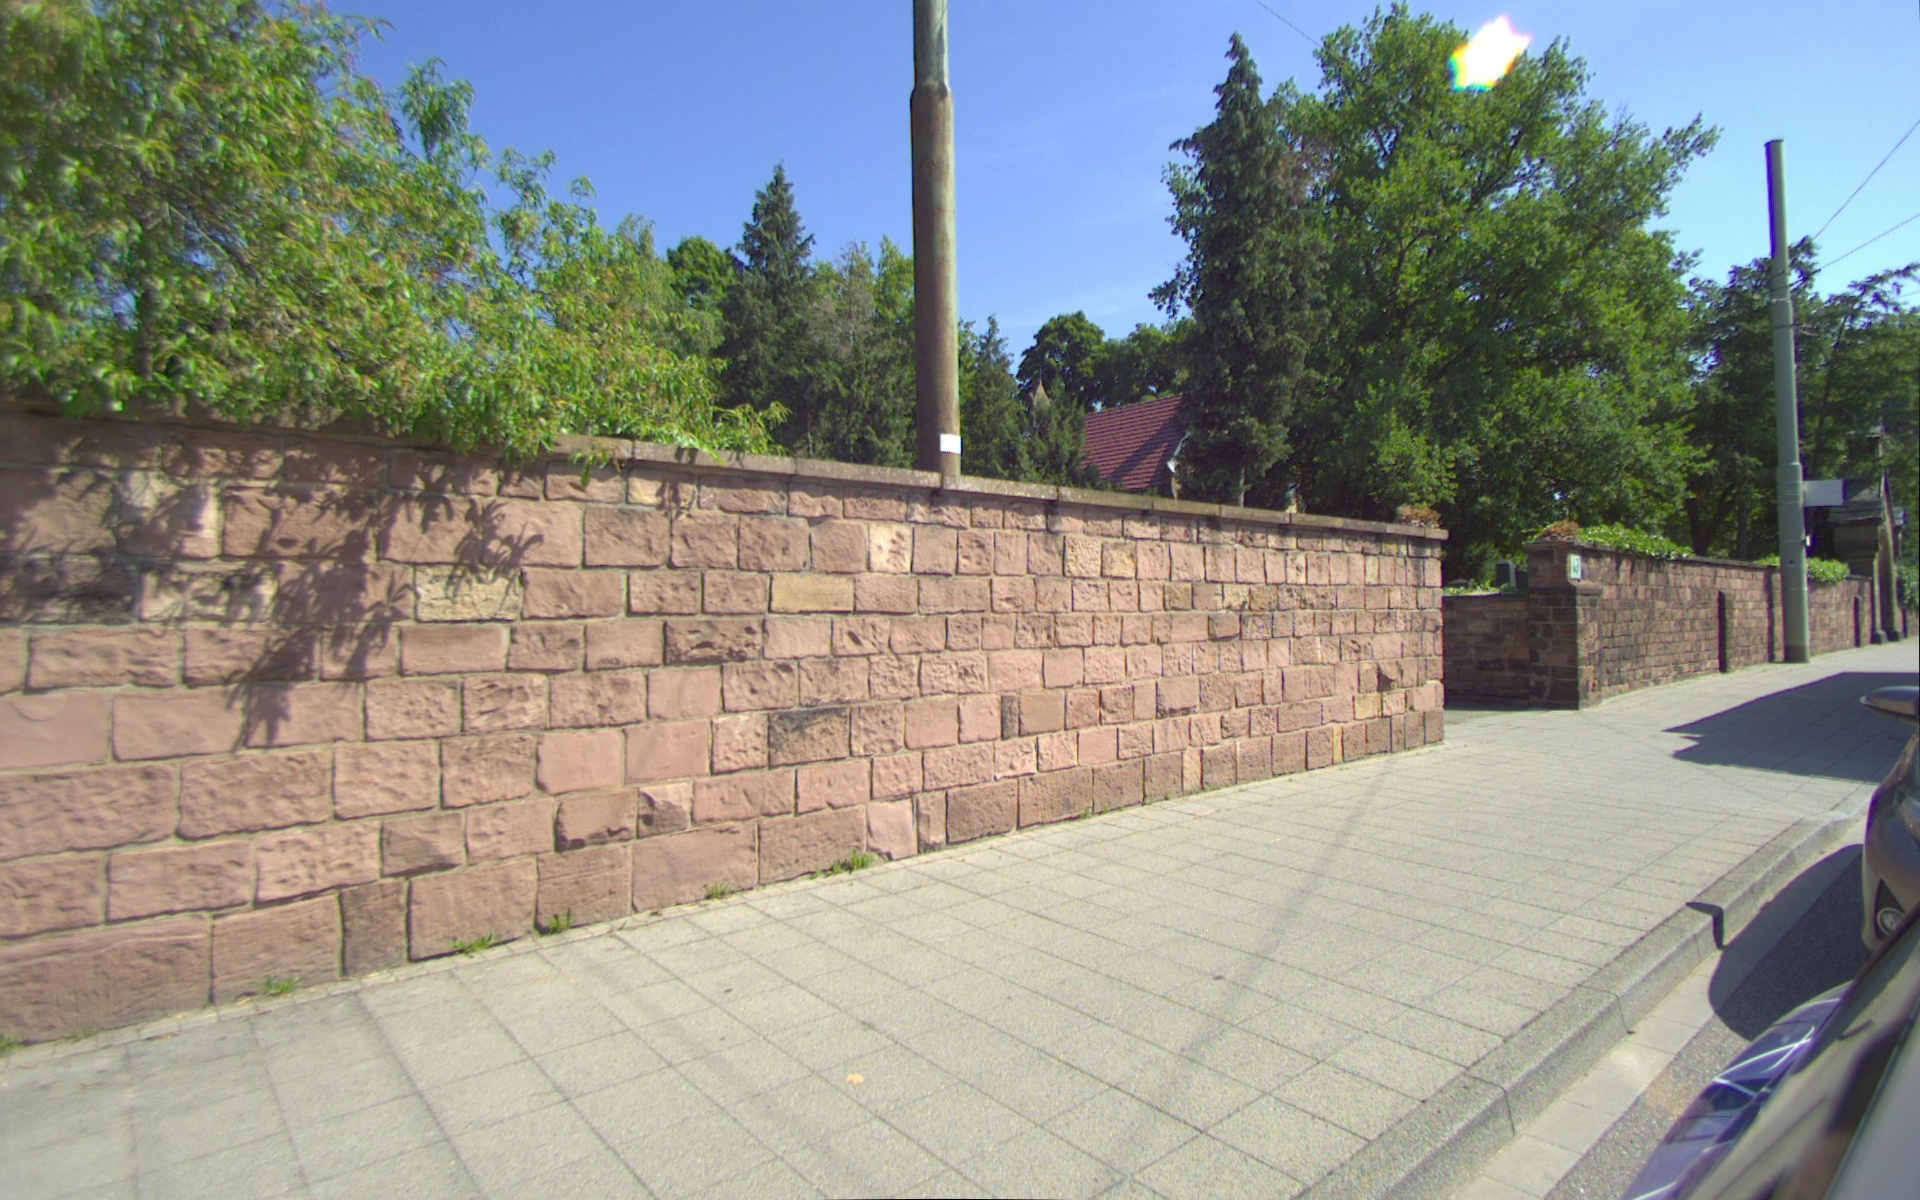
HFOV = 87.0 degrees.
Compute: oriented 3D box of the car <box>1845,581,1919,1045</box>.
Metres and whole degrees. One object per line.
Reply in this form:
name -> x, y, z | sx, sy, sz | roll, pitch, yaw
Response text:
car -> 5.105, 0.669, 4.070 | 4.384, 1.450, 1.741 | 0, 1, -41
